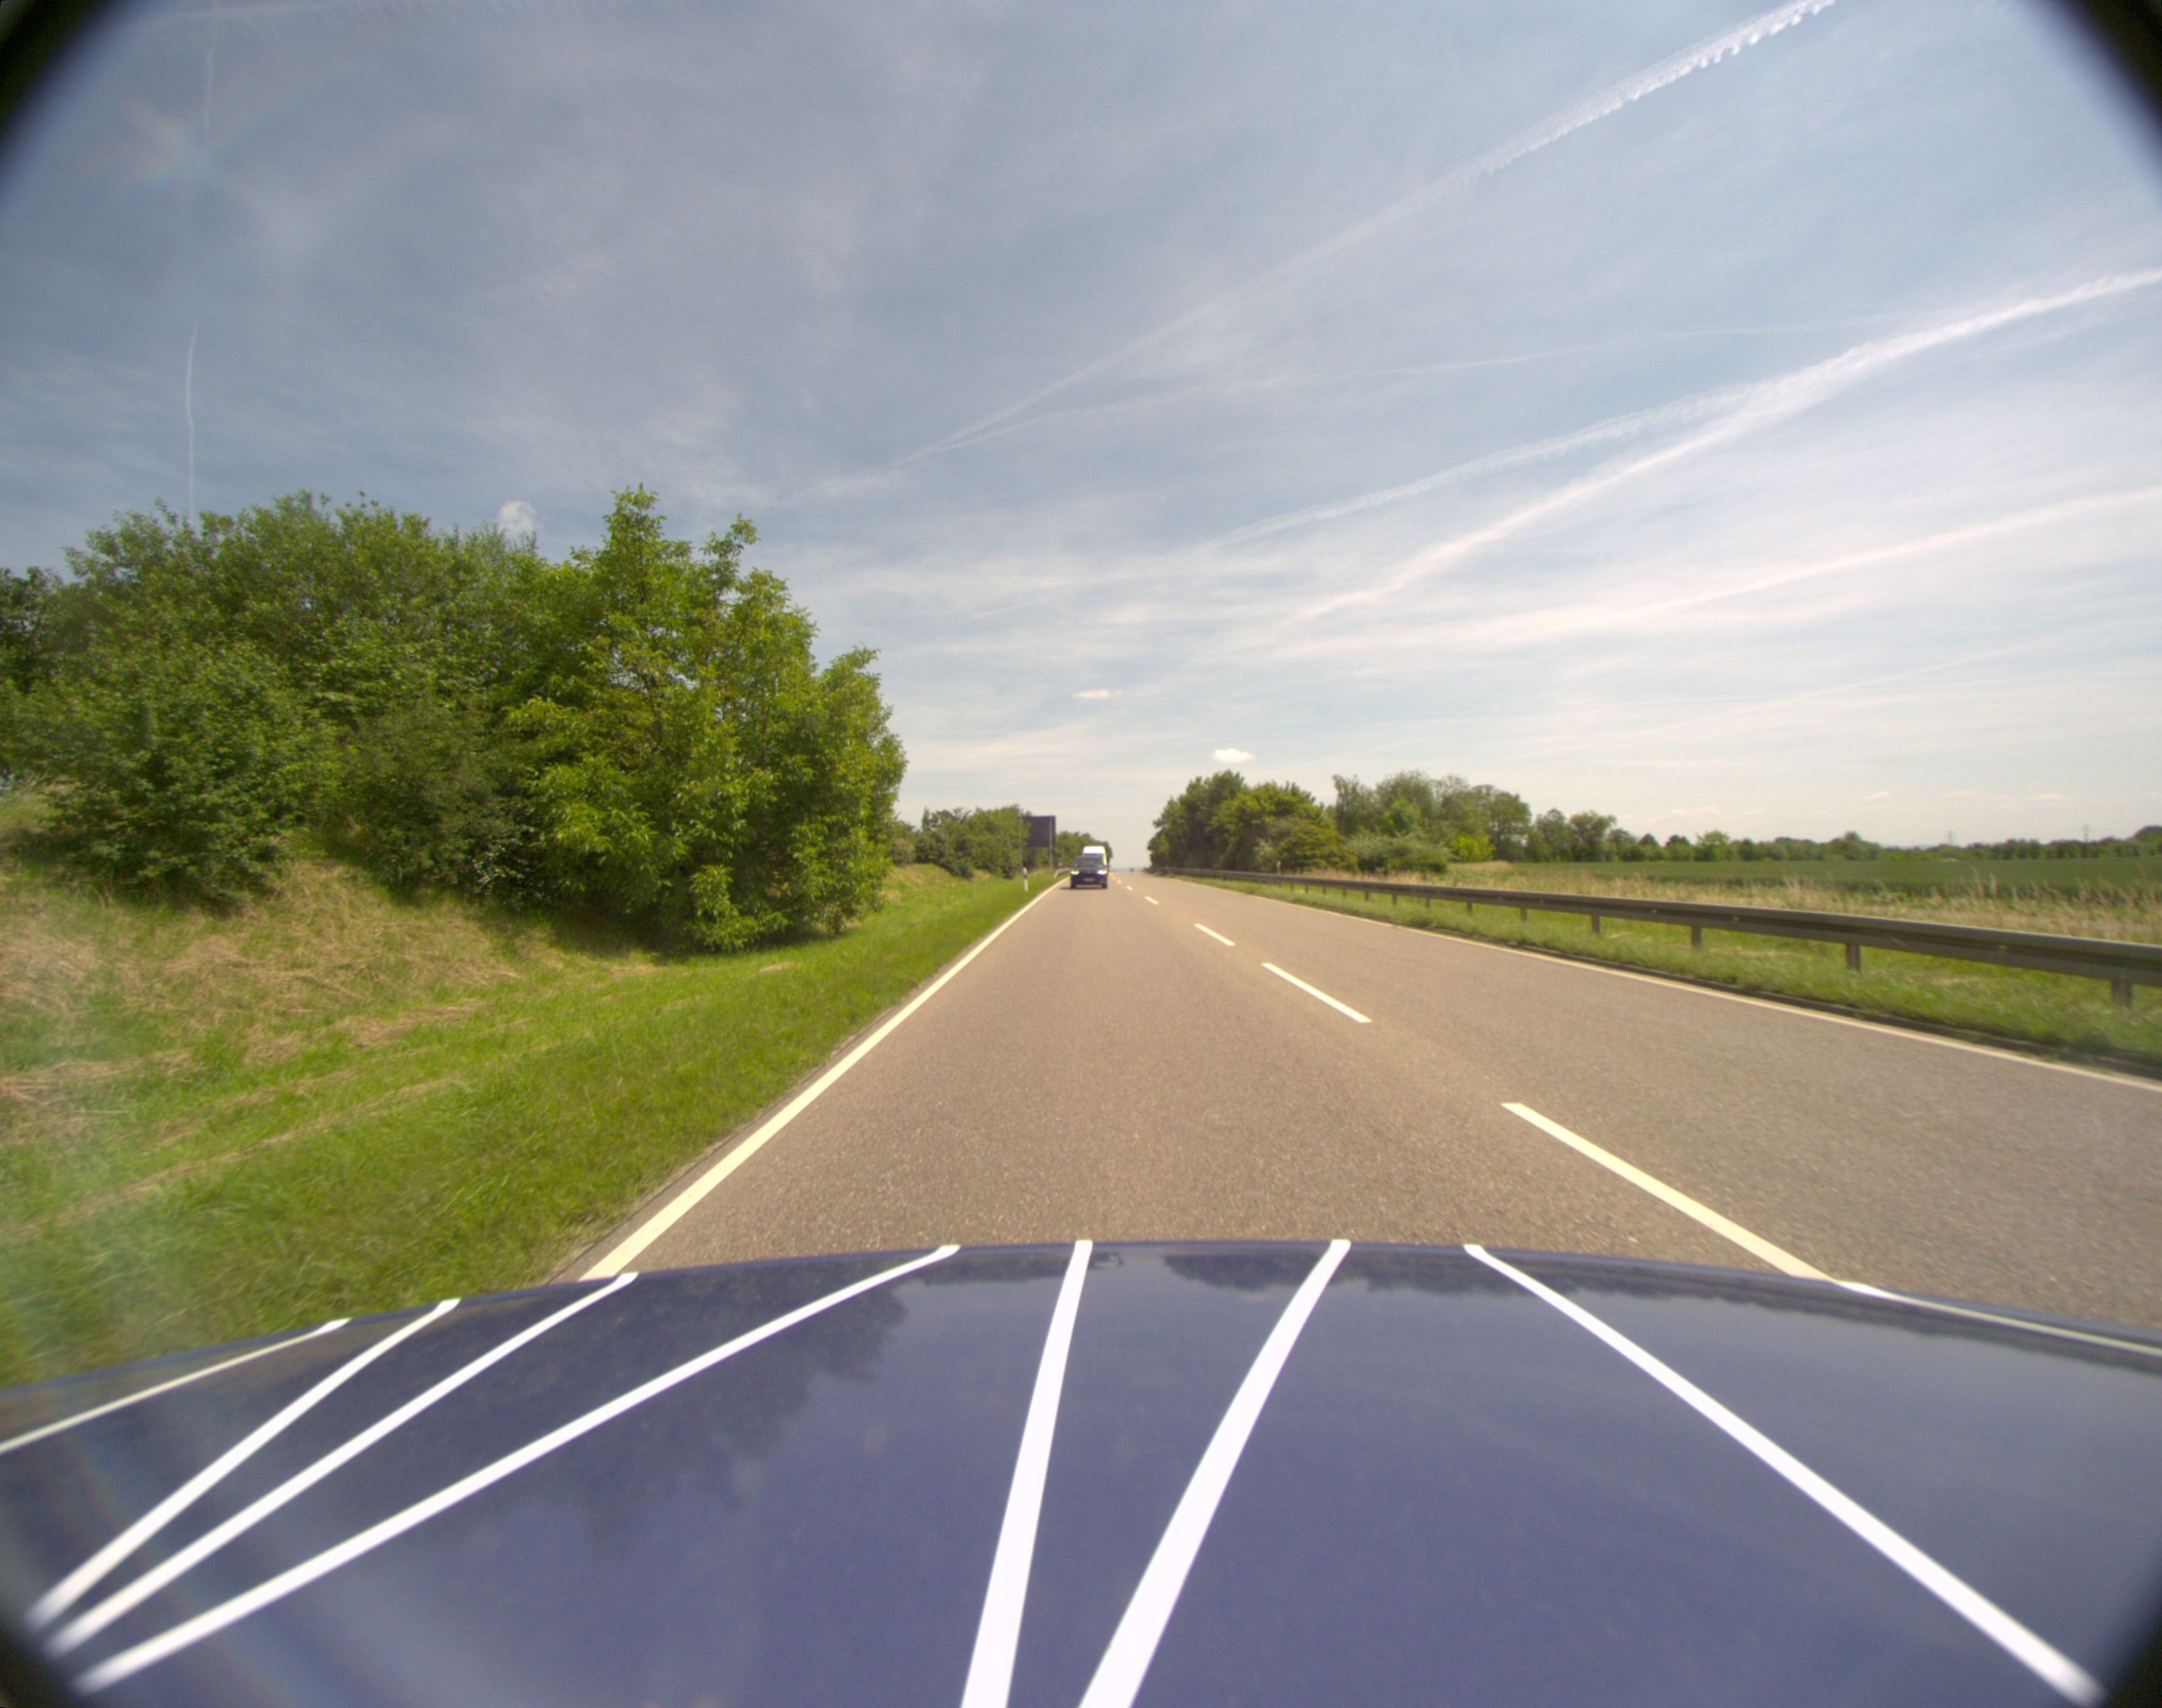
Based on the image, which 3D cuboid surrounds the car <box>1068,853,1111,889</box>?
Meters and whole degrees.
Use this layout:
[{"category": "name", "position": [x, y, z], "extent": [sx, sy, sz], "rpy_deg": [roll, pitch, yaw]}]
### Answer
[{"category": "car", "position": [0.524, 0.811, 39.688], "extent": [2.039, 1.691, 5.513], "rpy_deg": [-1, 1, 2]}]

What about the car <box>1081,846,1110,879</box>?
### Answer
[{"category": "car", "position": [1.241, 0.640, 62.476], "extent": [2.225, 2.617, 5.753], "rpy_deg": [-1, 1, 2]}]

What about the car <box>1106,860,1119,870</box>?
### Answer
[{"category": "car", "position": [5.157, 1.780, 124.304], "extent": [2.038, 1.641, 4.747], "rpy_deg": [0, -1, 4]}]
